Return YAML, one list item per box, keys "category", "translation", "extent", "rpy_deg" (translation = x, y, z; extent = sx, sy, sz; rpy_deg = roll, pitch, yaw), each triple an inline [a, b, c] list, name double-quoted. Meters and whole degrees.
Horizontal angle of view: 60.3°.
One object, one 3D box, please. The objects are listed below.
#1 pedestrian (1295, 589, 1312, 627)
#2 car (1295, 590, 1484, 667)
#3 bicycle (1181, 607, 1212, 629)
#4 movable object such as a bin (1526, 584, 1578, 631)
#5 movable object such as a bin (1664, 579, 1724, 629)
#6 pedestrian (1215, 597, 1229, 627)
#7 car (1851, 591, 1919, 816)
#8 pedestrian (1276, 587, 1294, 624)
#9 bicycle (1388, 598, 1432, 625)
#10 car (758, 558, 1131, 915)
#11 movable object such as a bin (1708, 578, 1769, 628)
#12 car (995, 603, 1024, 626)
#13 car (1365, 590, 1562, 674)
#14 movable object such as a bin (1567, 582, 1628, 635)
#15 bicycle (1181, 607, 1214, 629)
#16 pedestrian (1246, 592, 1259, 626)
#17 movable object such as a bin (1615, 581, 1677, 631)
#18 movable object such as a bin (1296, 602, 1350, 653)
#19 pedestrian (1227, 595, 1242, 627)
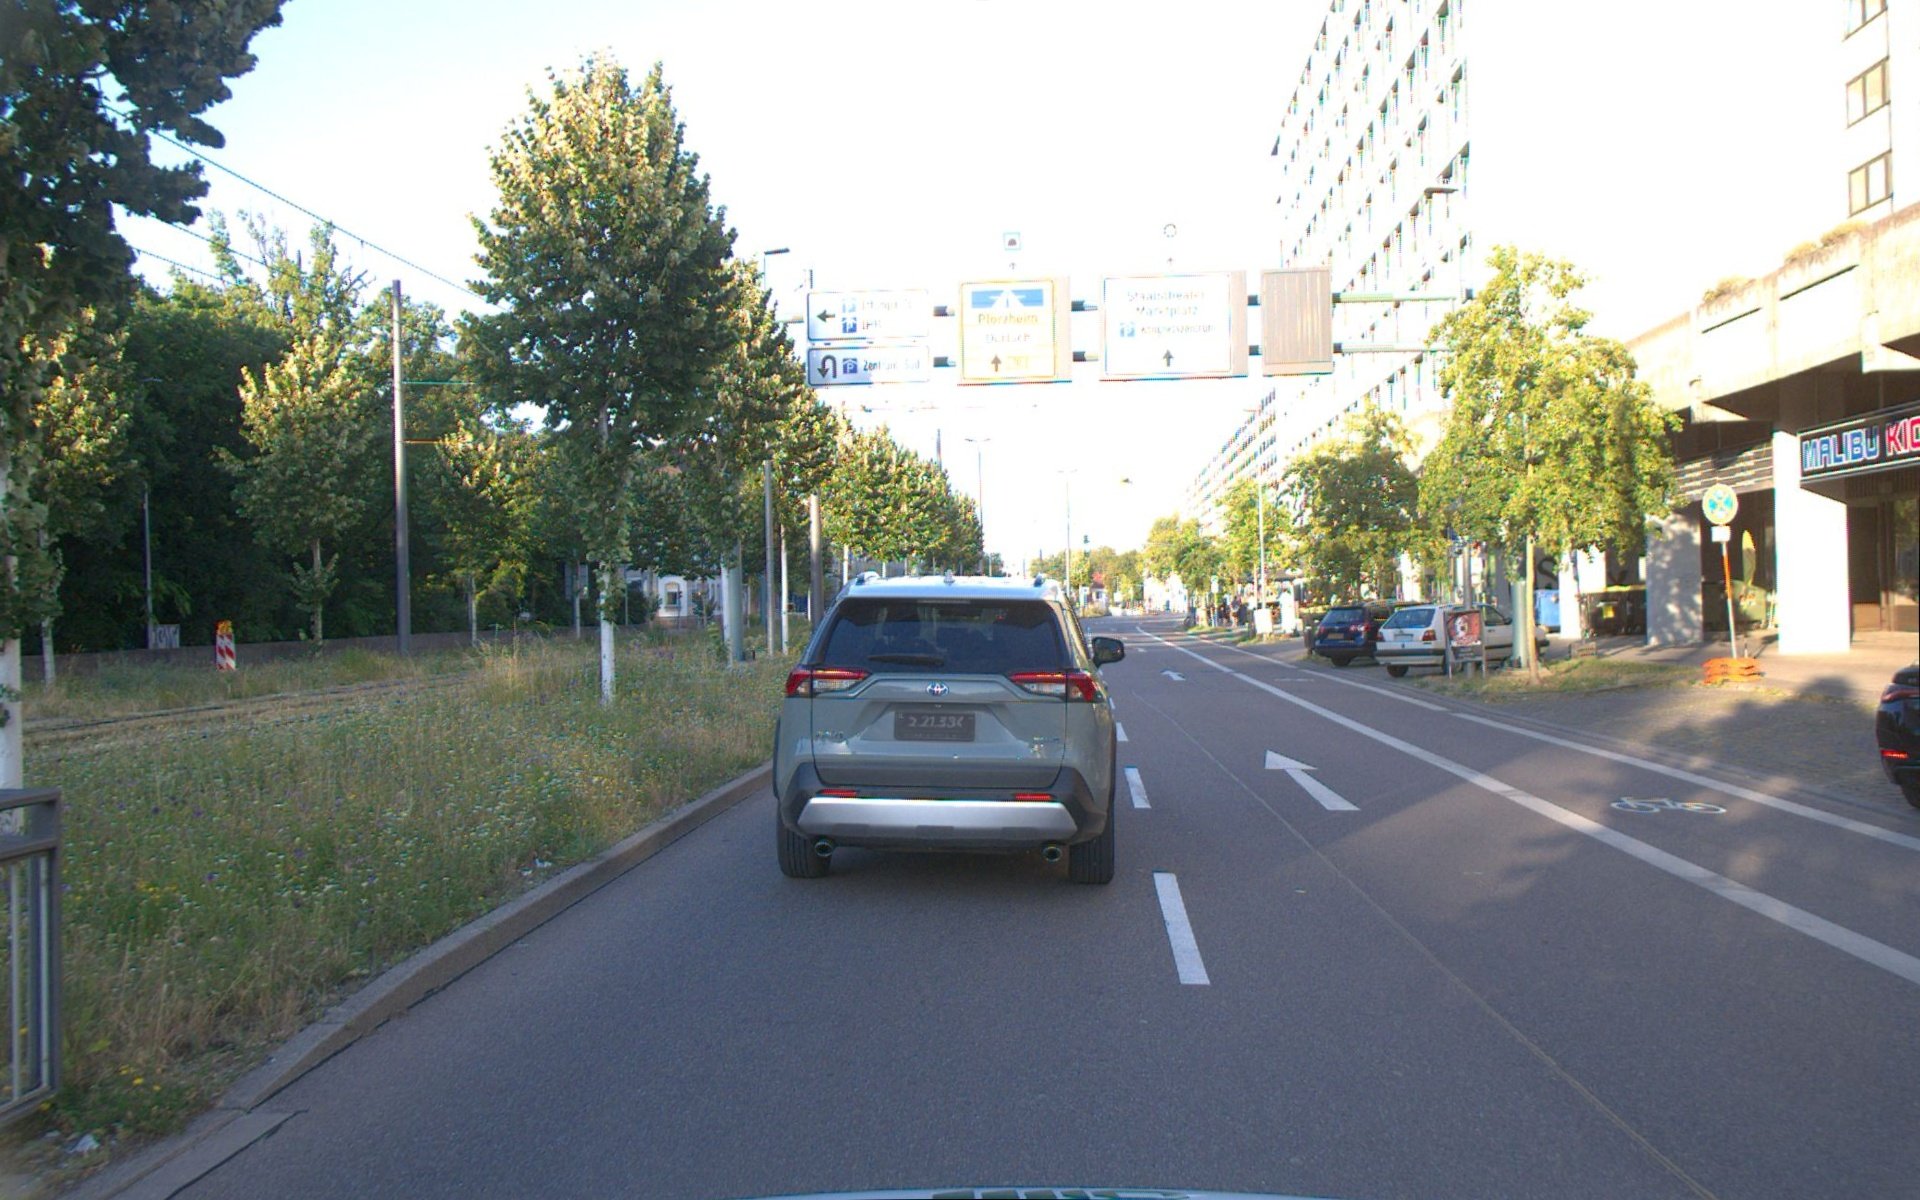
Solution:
- category: "pedestrian"
  translation: [17.466, 0.404, 84.125]
  extent: [0.728, 1.881, 0.941]
  rpy_deg: [-4, -1, 13]
- category: "car"
  translation: [10.488, 0.674, 40.283]
  extent: [4.618, 1.534, 1.915]
  rpy_deg: [-3, -1, -36]
- category: "bicycle"
  translation: [14.507, 1.088, 101.518]
  extent: [1.757, 1.214, 0.567]
  rpy_deg: [-4, 0, -1]
- category: "movable object such as a bin"
  translation: [17.951, 0.231, 50.168]
  extent: [1.082, 1.353, 1.283]
  rpy_deg: [-3, 0, 3]
- category: "movable object such as a bin"
  translation: [20.311, 0.099, 45.804]
  extent: [1.157, 1.336, 1.125]
  rpy_deg: [-2, 0, 2]
- category: "pedestrian"
  translation: [15.253, 0.701, 96.361]
  extent: [0.640, 1.732, 0.689]
  rpy_deg: [-3, 0, 4]
- category: "car"
  translation: [8.493, 0.586, 12.042]
  extent: [4.559, 1.478, 1.790]
  rpy_deg: [-3, 0, -38]
- category: "pedestrian"
  translation: [17.480, 0.318, 88.979]
  extent: [0.807, 1.921, 0.867]
  rpy_deg: [-3, -2, 12]
- category: "bicycle"
  translation: [18.906, 0.484, 69.490]
  extent: [1.665, 1.003, 0.551]
  rpy_deg: [-3, 0, 1]
- category: "car"
  translation: [0.057, 0.649, 10.135]
  extent: [1.795, 1.702, 4.284]
  rpy_deg: [0, 0, 4]
- category: "movable object such as a bin"
  translation: [21.517, 0.077, 45.746]
  extent: [1.157, 1.336, 1.088]
  rpy_deg: [-2, 0, 2]
- category: "car"
  translation: [3.064, 0.857, 101.975]
  extent: [1.639, 1.376, 4.002]
  rpy_deg: [0, 0, 4]
- category: "car"
  translation: [10.317, 0.649, 33.824]
  extent: [3.945, 1.441, 1.730]
  rpy_deg: [-3, -1, -35]
- category: "movable object such as a bin"
  translation: [17.627, 0.227, 45.747]
  extent: [1.157, 1.346, 1.267]
  rpy_deg: [-4, 0, 2]
- category: "bicycle"
  translation: [14.311, 1.088, 99.705]
  extent: [1.808, 1.202, 0.608]
  rpy_deg: [-4, 0, 3]
- category: "pedestrian"
  translation: [16.044, 0.486, 90.718]
  extent: [0.564, 1.817, 0.829]
  rpy_deg: [-3, -2, 12]
- category: "movable object such as a bin"
  translation: [18.972, 0.161, 45.772]
  extent: [1.157, 1.321, 1.305]
  rpy_deg: [-2, 0, 2]
- category: "movable object such as a bin"
  translation: [10.003, 0.753, 45.595]
  extent: [1.063, 1.324, 1.360]
  rpy_deg: [-4, 0, -3]
- category: "pedestrian"
  translation: [16.000, 0.639, 96.406]
  extent: [0.671, 1.765, 0.761]
  rpy_deg: [-4, 0, 4]
